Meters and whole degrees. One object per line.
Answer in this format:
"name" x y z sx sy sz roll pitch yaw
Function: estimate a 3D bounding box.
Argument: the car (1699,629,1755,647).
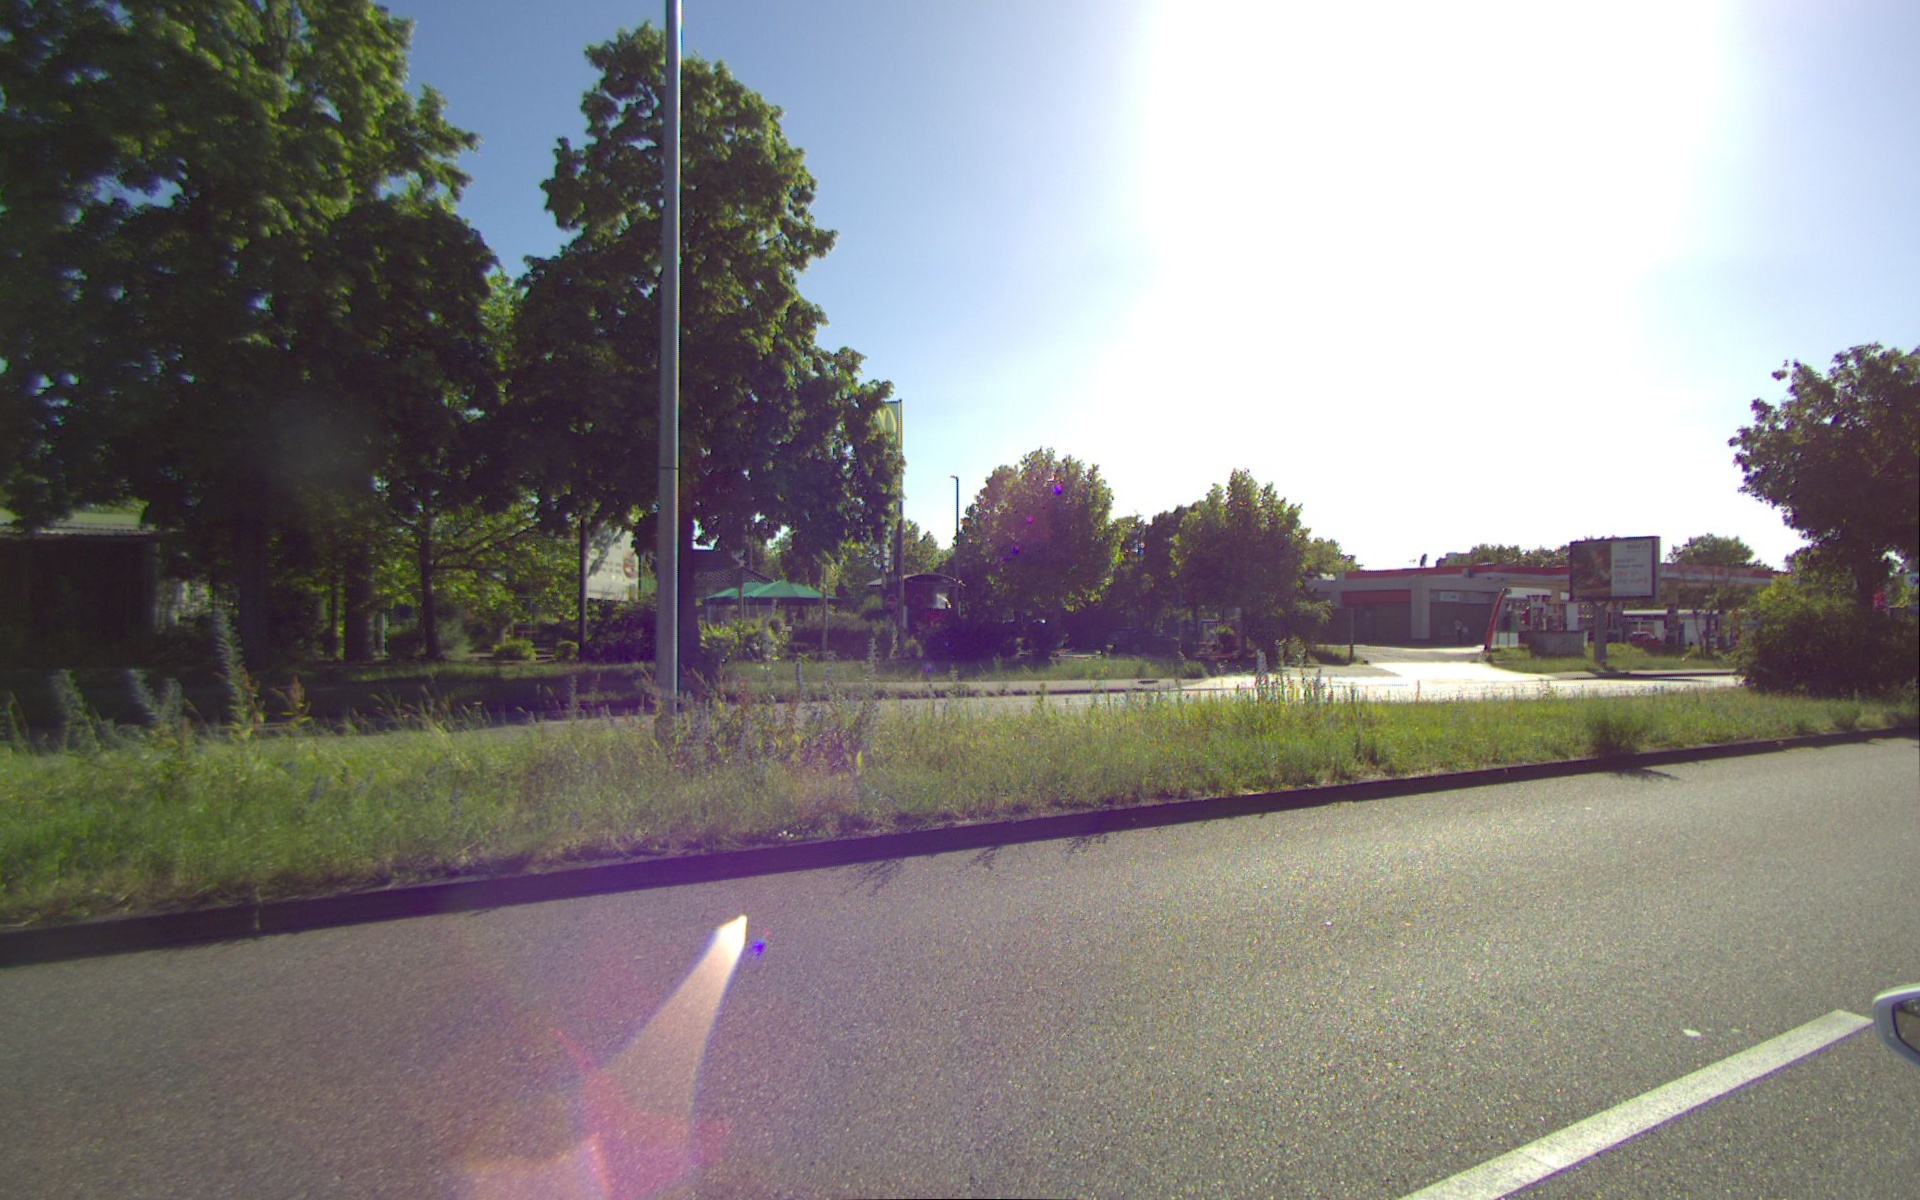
"car" 80.622 4.000 105.634 1.978 1.867 4.360 1 -1 -32

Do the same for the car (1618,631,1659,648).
"car" 68.532 3.989 101.412 4.242 1.570 1.802 1 -1 -30

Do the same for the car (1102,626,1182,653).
"car" 9.391 2.042 51.871 3.886 1.327 1.779 2 -1 -31
